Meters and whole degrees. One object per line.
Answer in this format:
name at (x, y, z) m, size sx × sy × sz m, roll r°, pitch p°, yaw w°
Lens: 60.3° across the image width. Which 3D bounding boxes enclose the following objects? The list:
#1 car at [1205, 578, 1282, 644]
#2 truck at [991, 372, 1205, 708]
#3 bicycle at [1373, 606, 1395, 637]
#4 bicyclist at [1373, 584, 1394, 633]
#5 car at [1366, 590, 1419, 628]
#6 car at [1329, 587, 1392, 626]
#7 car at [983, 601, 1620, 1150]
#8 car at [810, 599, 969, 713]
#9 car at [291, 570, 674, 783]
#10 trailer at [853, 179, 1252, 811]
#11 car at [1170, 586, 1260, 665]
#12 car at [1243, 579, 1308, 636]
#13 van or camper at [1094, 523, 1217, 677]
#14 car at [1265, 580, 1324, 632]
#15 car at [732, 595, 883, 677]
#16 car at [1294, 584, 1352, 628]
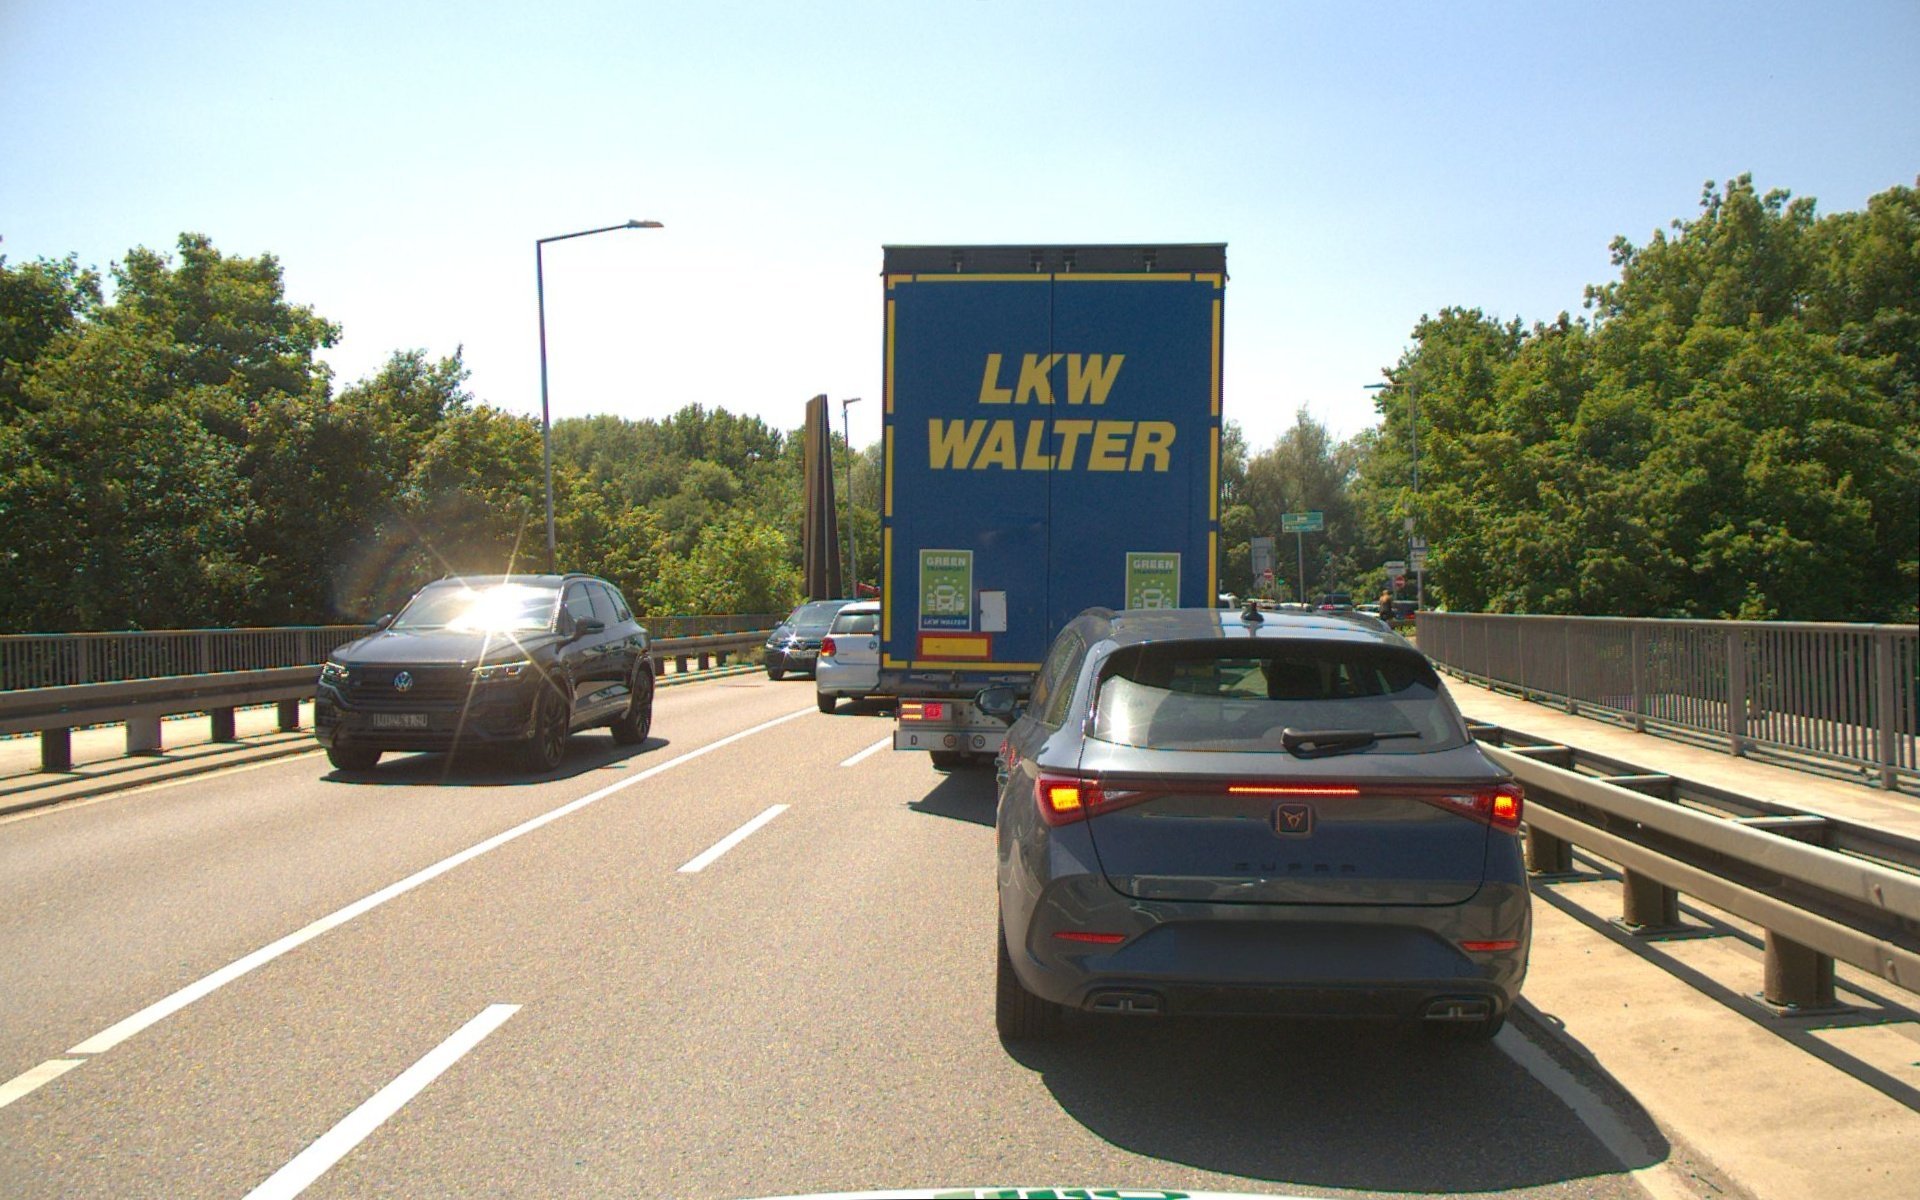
car at (8.247, 0.284, 47.915) m, size 1.684 × 1.834 × 4.002 m, roll 0°, pitch 0°, yaw 17°
truck at (2.283, -0.827, 25.538) m, size 2.842 × 4.496 × 6.561 m, roll 0°, pitch 0°, yaw 8°
bicycle at (14.918, 0.760, 58.183) m, size 0.569 × 1.053 × 1.486 m, roll -3°, pitch 0°, yaw 9°
bicyclist at (14.911, 0.295, 58.207) m, size 0.565 × 1.712 × 0.730 m, roll -3°, pitch 0°, yaw 9°
car at (21.268, 0.455, 81.185) m, size 1.653 × 1.791 × 3.994 m, roll 0°, pitch -1°, yaw 28°
car at (18.245, 0.310, 75.238) m, size 1.954 × 1.603 × 3.996 m, roll 2°, pitch -1°, yaw 26°
car at (0.962, 0.749, 6.480) m, size 1.643 × 1.481 × 3.958 m, roll 0°, pitch 0°, yaw -1°
car at (-0.906, 0.731, 23.385) m, size 1.641 × 1.436 × 3.978 m, roll -1°, pitch 0°, yaw 6°
car at (-4.236, 0.613, 15.562) m, size 1.924 × 1.702 × 4.616 m, roll 0°, pitch 0°, yaw 5°
trailer at (1.372, -0.788, 18.098) m, size 2.843 × 4.496 × 12.442 m, roll 0°, pitch 0°, yaw 7°
car at (6.484, 0.593, 41.822) m, size 1.684 × 1.876 × 4.002 m, roll 0°, pitch 1°, yaw 17°
car at (10.847, 0.246, 56.686) m, size 1.685 × 1.876 × 4.002 m, roll 0°, pitch 0°, yaw 18°
van or camper at (4.145, -0.025, 34.158) m, size 2.108 × 2.865 × 6.393 m, roll 0°, pitch 0°, yaw 11°
car at (12.626, 0.204, 62.275) m, size 1.685 × 1.876 × 4.002 m, roll 0°, pitch 0°, yaw 18°
car at (-2.895, 0.649, 32.392) m, size 1.673 × 1.494 × 4.463 m, roll 0°, pitch 0°, yaw 13°
car at (15.140, 0.273, 68.865) m, size 1.651 × 1.791 × 3.999 m, roll 0°, pitch -1°, yaw 23°
